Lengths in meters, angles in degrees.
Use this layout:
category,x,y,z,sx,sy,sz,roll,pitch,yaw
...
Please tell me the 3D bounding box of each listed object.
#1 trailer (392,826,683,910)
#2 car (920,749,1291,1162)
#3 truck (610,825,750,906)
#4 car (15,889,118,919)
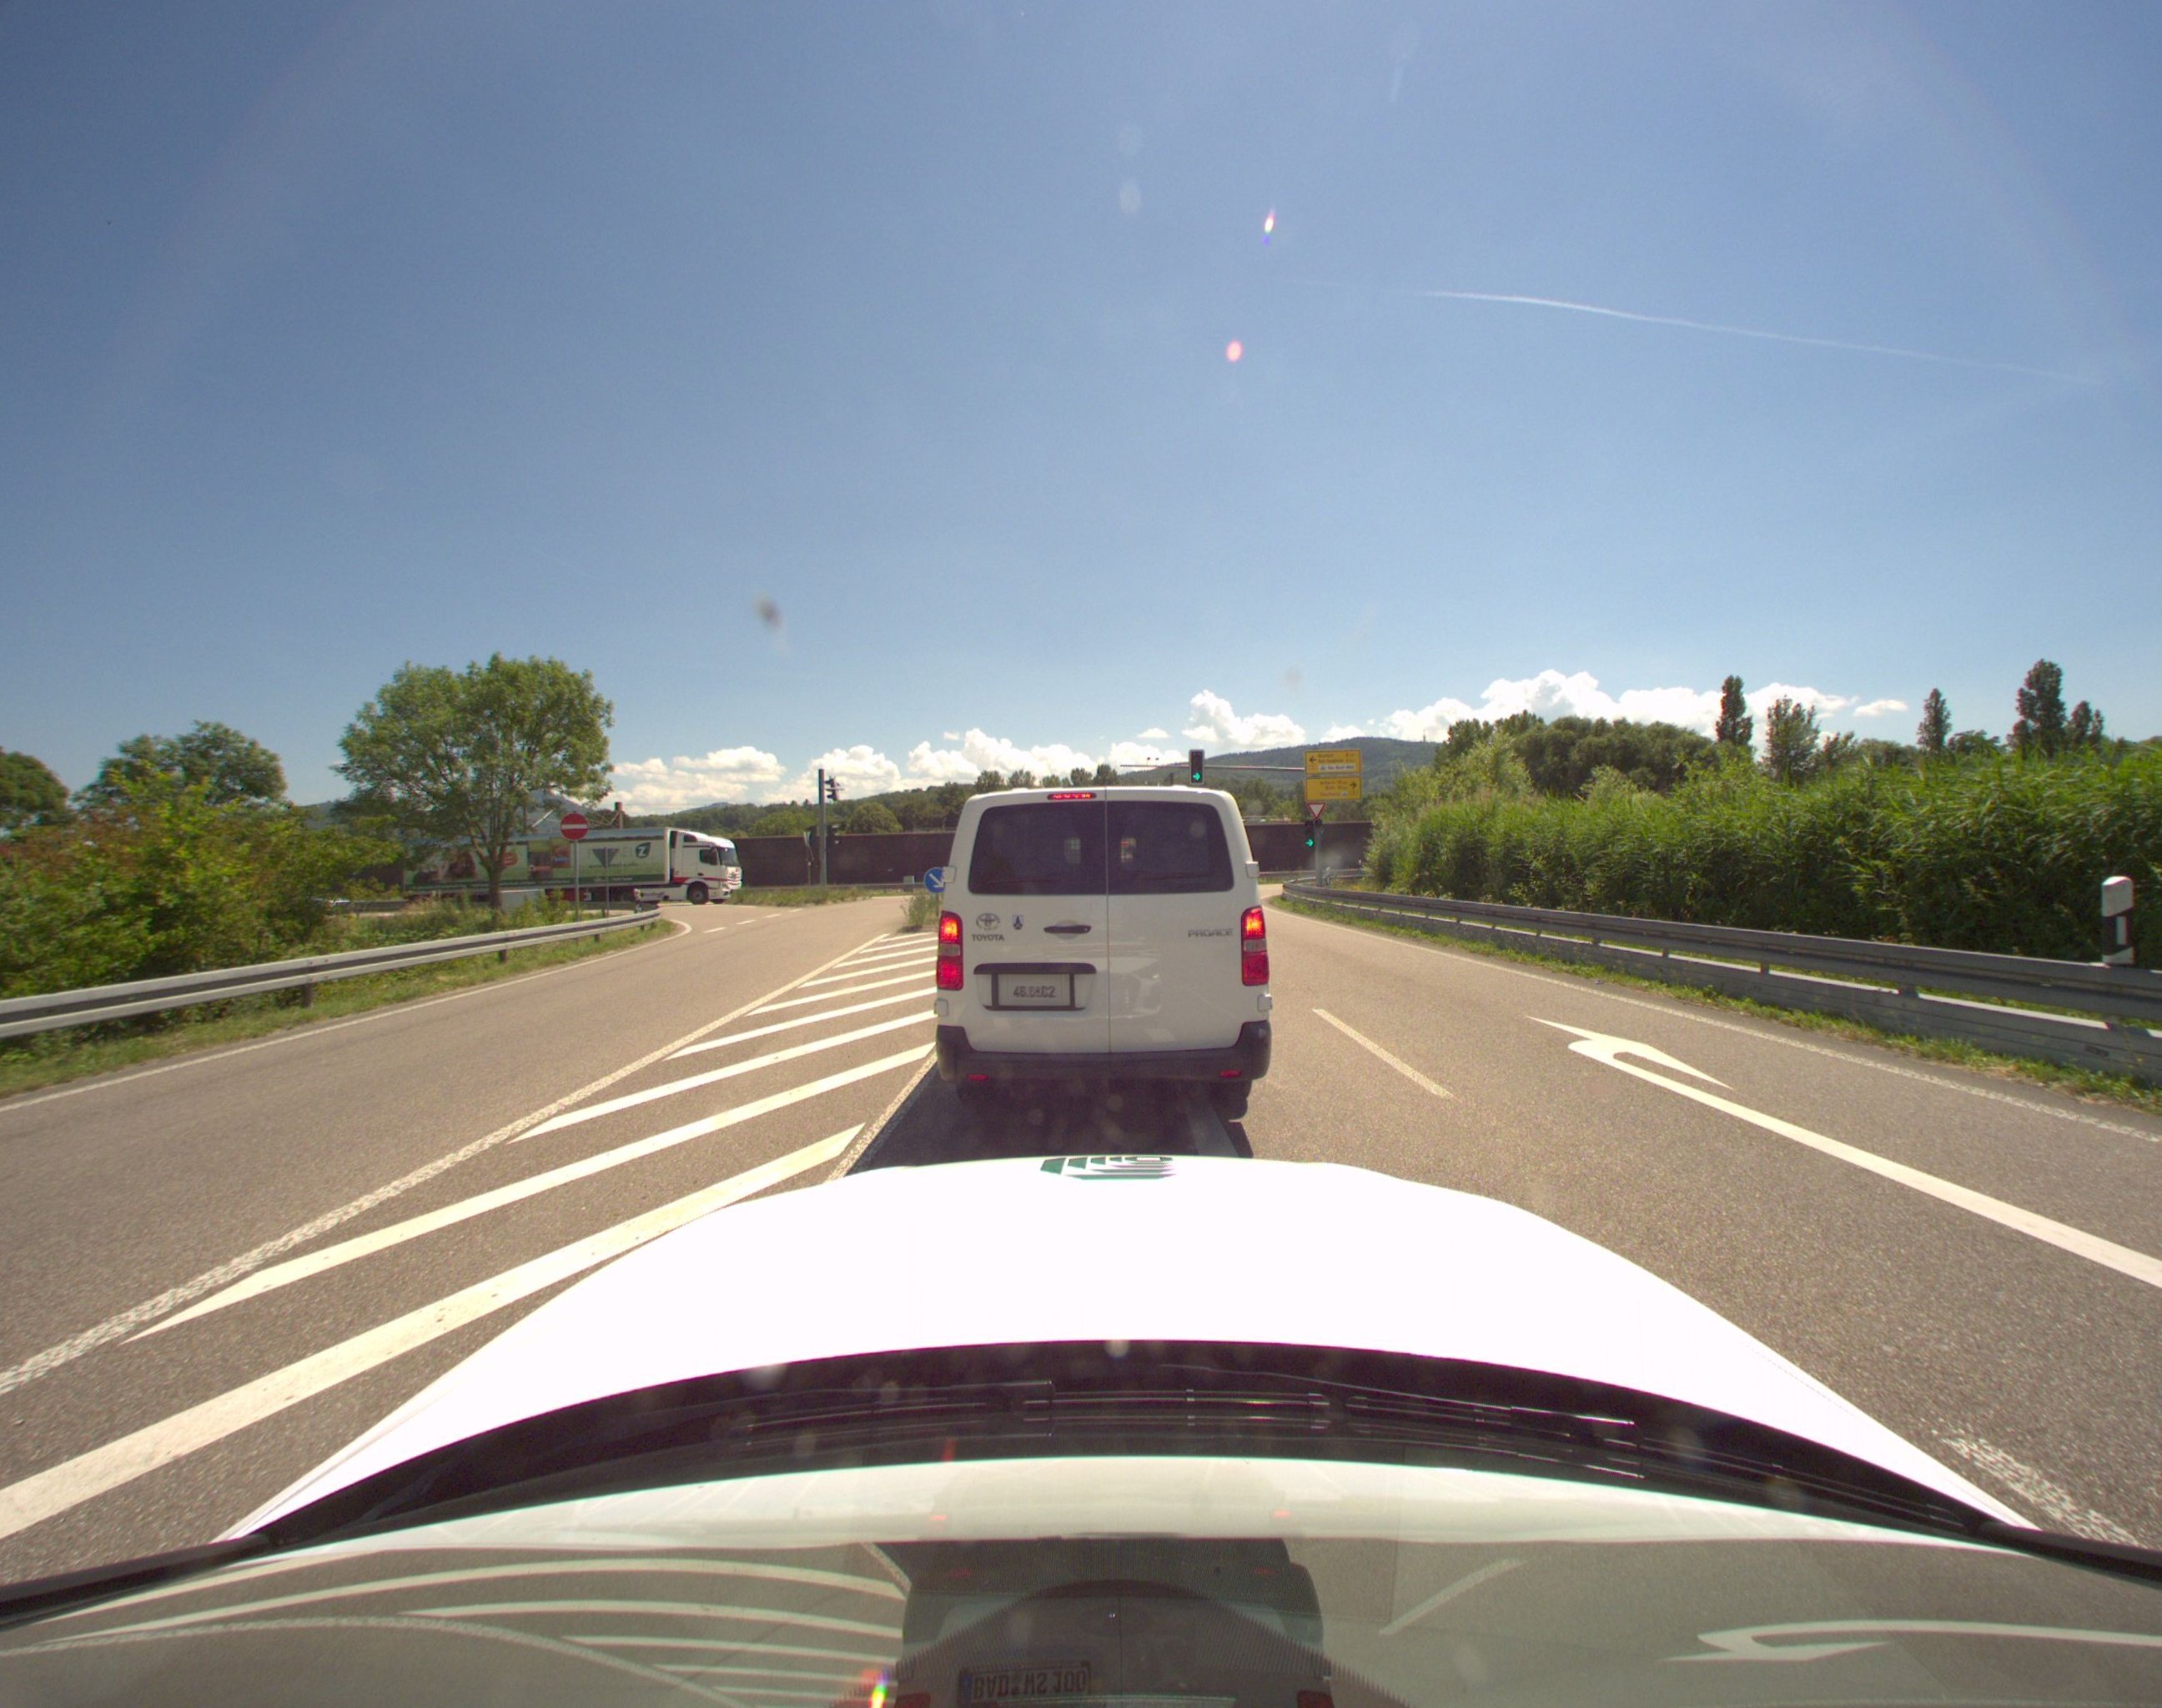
category,x,y,z,sx,sy,sz,roll,pitch,yaw
trailer,-28.218,0.732,42.727,13.098,3.954,3.061,-1,-1,0
car,0.178,0.520,6.046,1.808,2.017,4.001,-1,-1,2
truck,-20.960,0.595,42.782,5.746,3.954,3.062,-1,-1,0
car,-53.899,2.637,43.300,3.462,1.464,1.554,-1,-1,0
